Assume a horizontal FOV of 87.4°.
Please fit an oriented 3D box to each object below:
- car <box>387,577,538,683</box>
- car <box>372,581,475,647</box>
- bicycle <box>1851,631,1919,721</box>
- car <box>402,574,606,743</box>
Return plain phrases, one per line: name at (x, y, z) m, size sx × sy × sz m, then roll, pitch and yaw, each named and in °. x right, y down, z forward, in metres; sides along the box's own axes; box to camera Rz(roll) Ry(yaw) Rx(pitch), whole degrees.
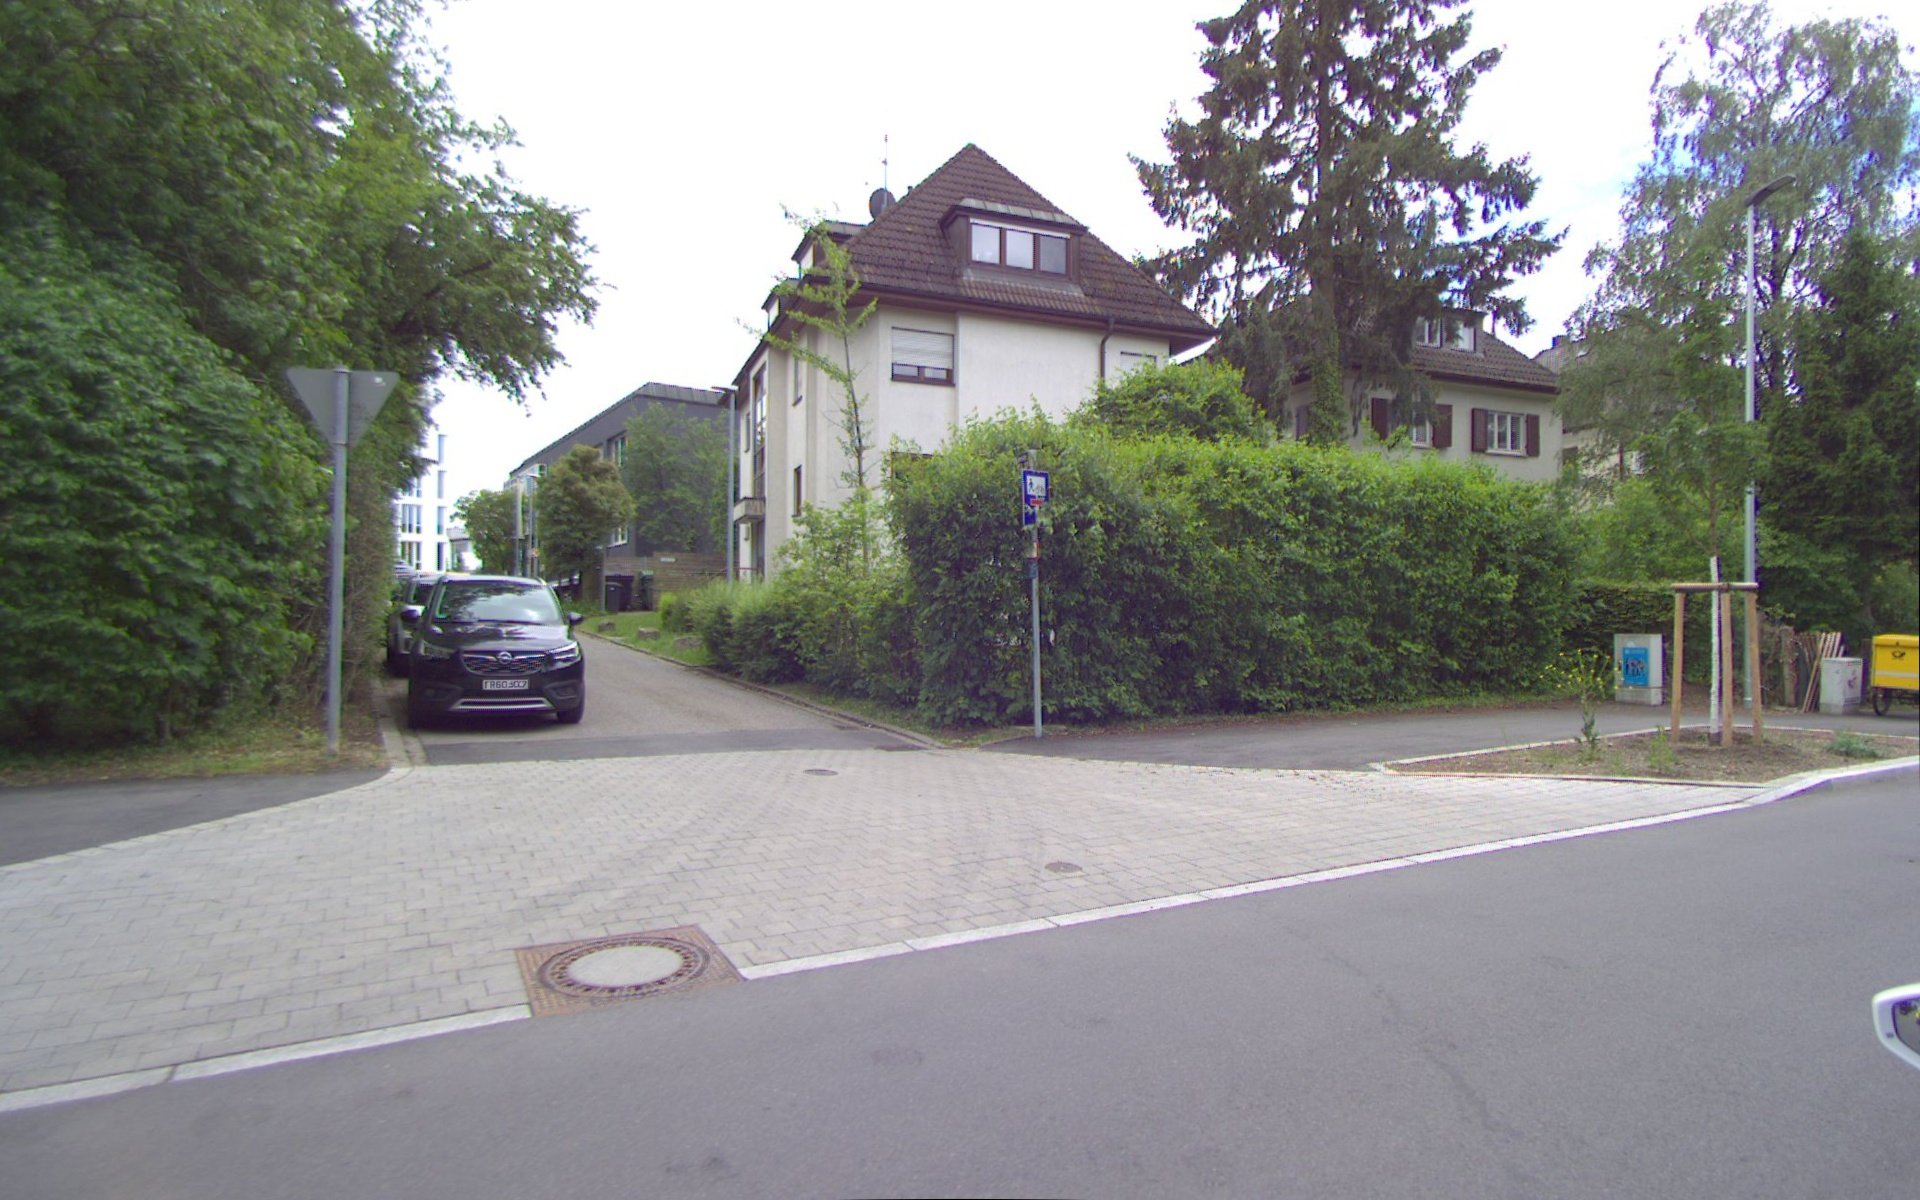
car at (-8.396, 0.416, 16.770) m, size 1.848 × 1.514 × 3.964 m, roll 1°, pitch 1°, yaw -32°
car at (-11.897, 0.273, 22.221) m, size 1.846 × 1.309 × 3.501 m, roll 1°, pitch 1°, yaw -30°
bicycle at (15.159, 1.166, 15.735) m, size 2.881 × 1.268 × 0.901 m, roll 2°, pitch 1°, yaw -30°
car at (-5.476, 0.544, 11.866) m, size 1.845 × 1.614 × 3.970 m, roll 1°, pitch 1°, yaw -28°
